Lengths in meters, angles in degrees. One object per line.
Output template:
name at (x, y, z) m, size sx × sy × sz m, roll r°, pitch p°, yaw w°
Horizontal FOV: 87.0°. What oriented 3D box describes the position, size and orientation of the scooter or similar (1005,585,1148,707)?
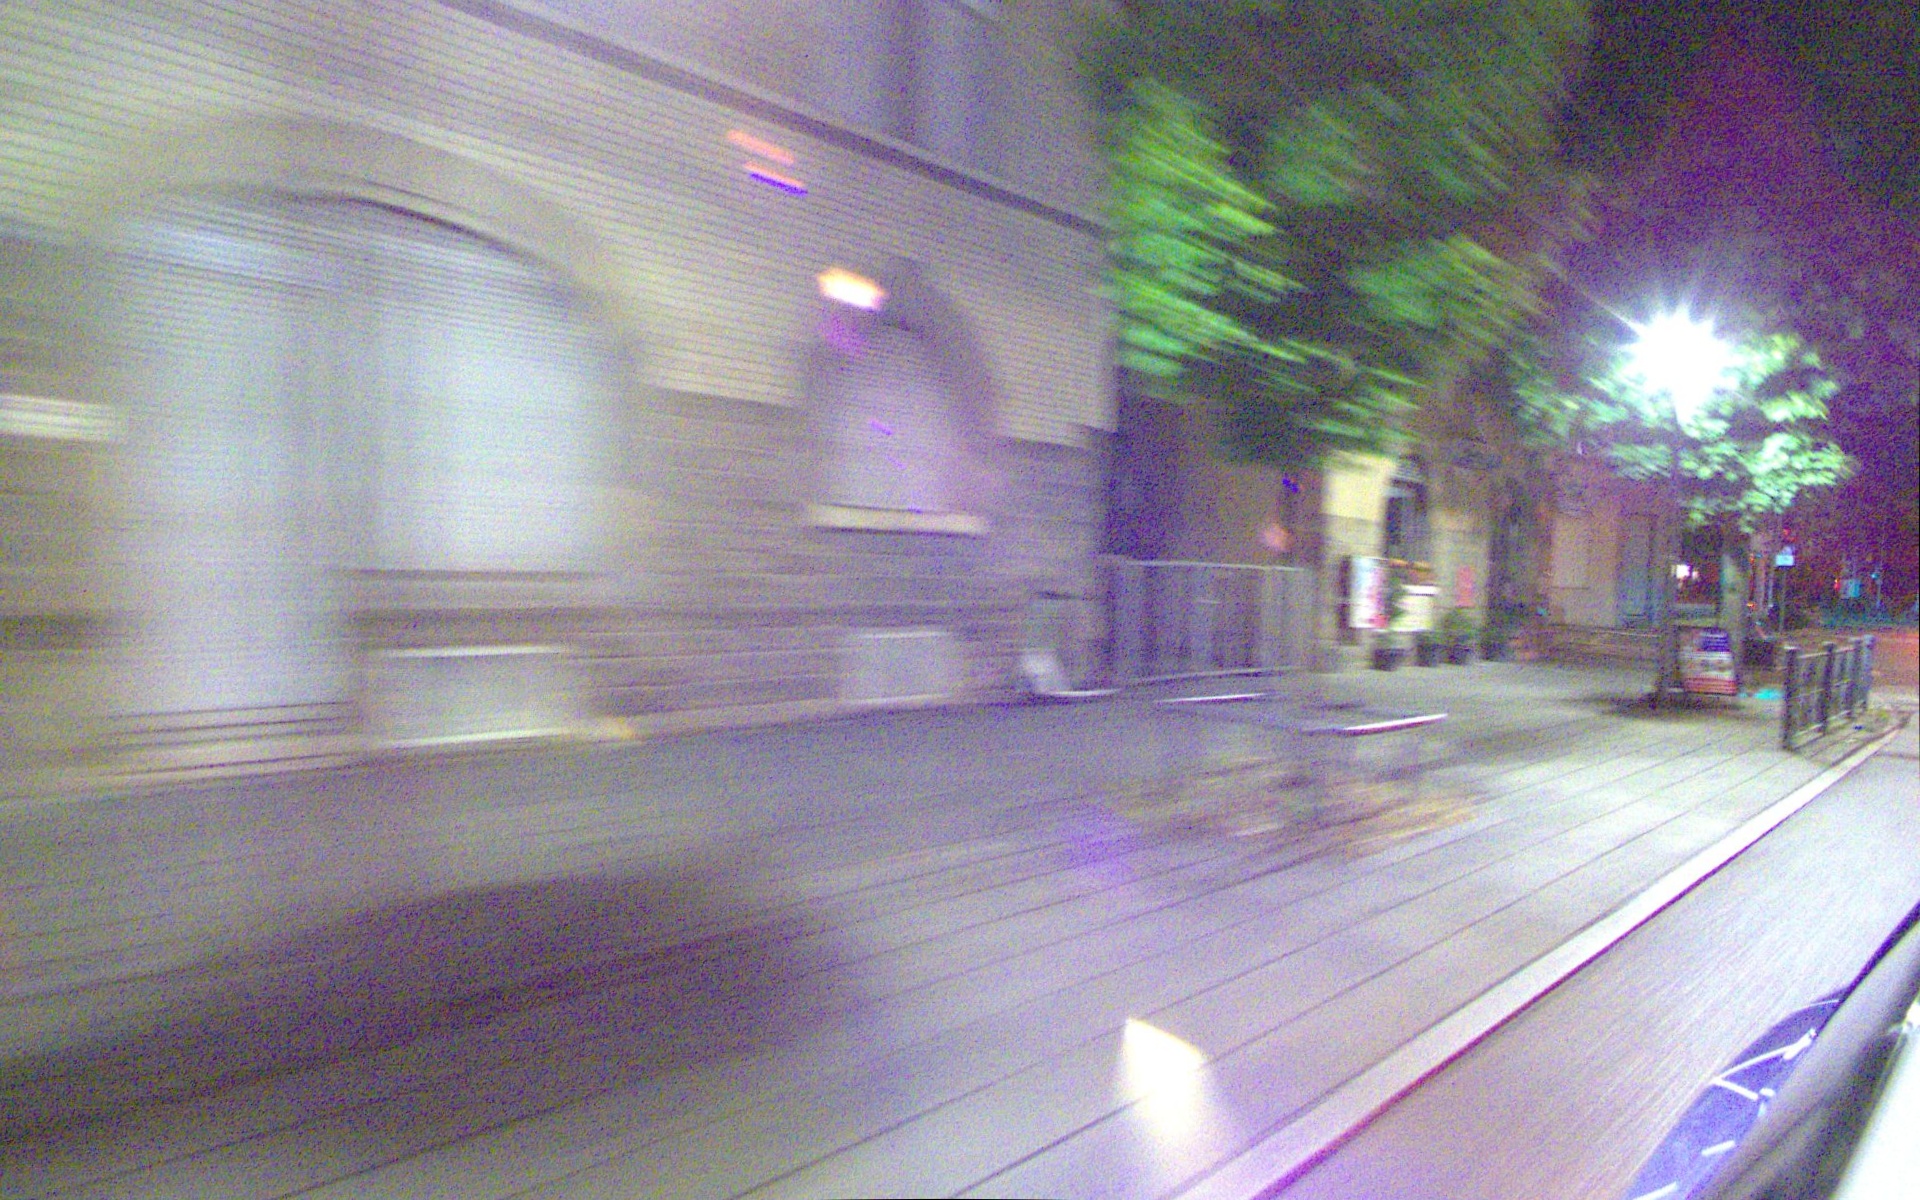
scooter or similar at (1.186, 0.443, 10.219) m, size 1.464 × 1.144 × 0.423 m, roll 1°, pitch 3°, yaw -34°
